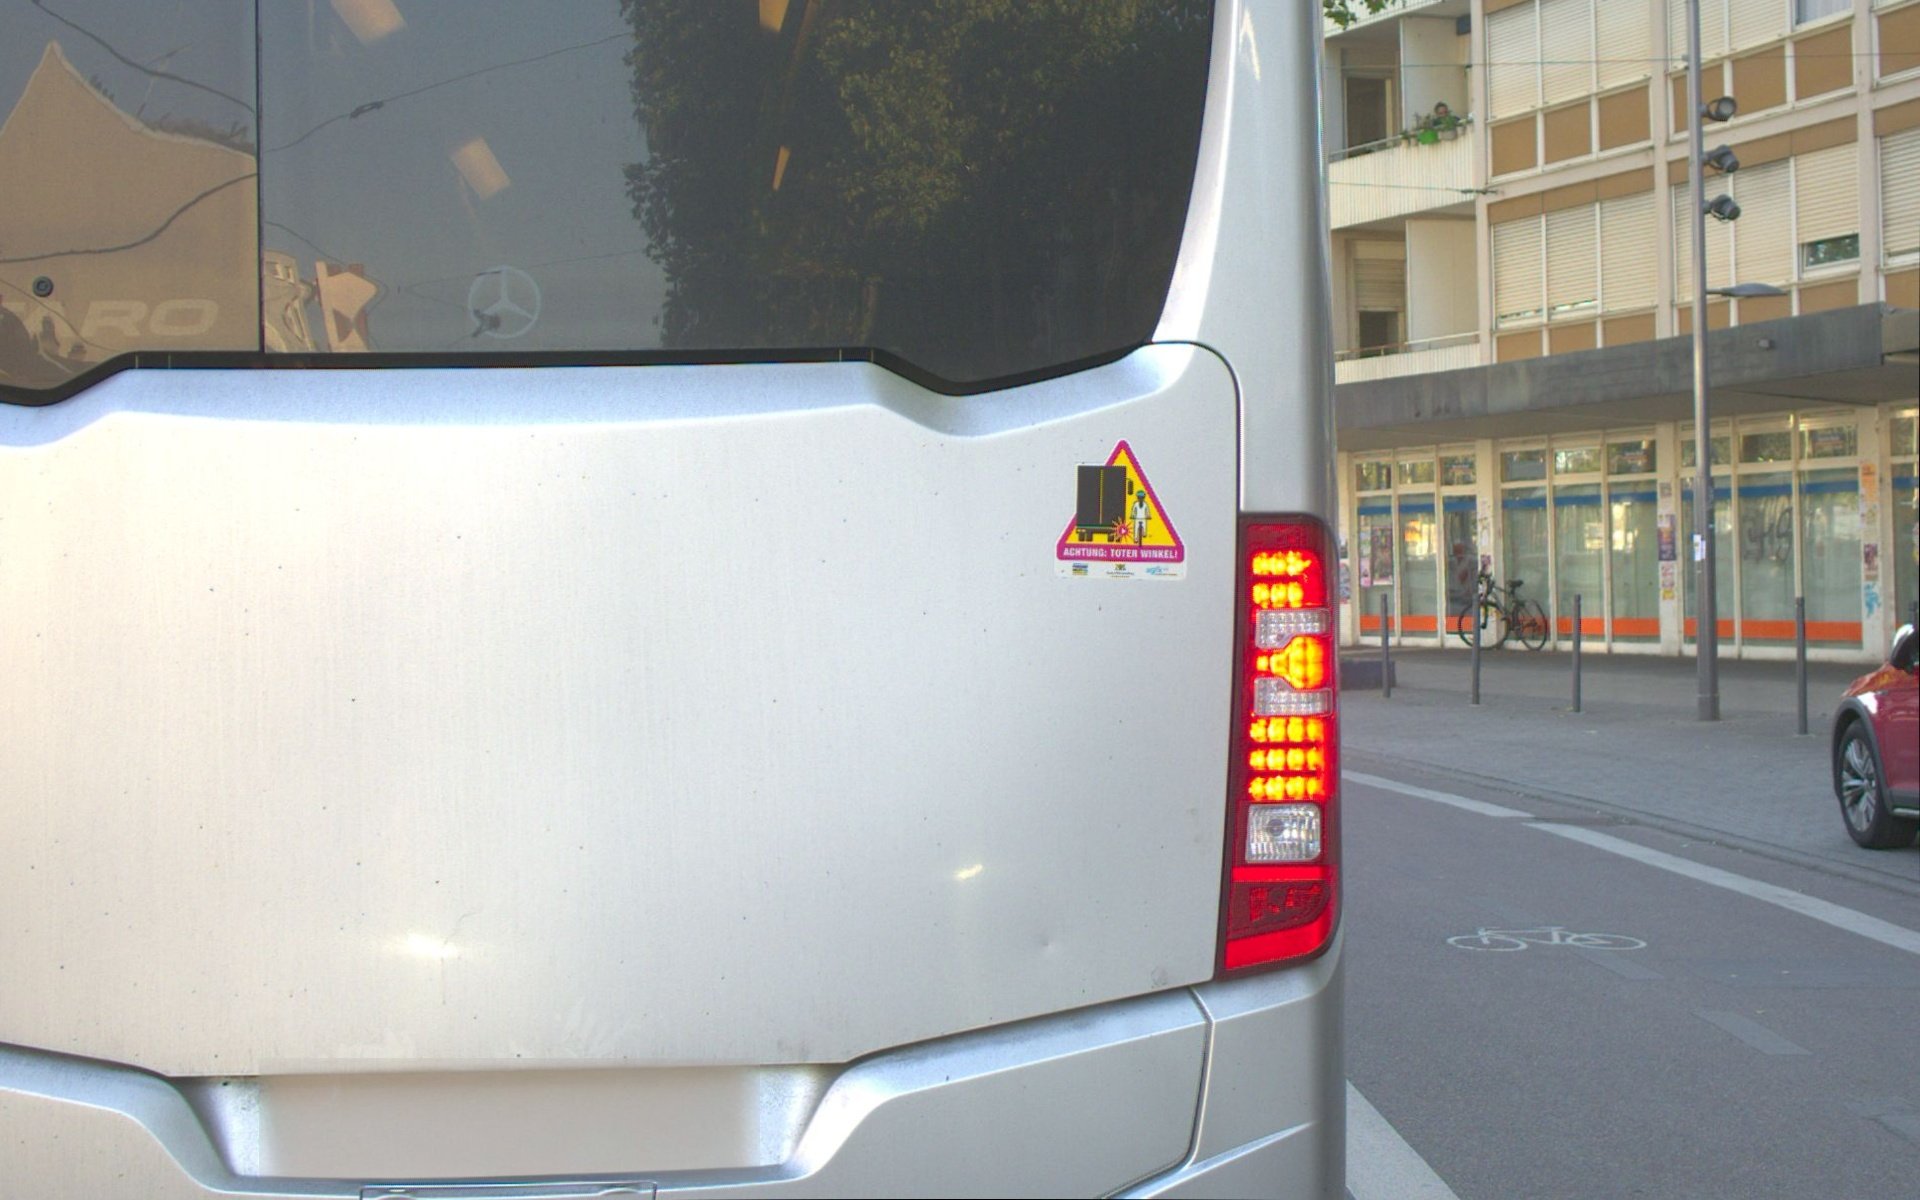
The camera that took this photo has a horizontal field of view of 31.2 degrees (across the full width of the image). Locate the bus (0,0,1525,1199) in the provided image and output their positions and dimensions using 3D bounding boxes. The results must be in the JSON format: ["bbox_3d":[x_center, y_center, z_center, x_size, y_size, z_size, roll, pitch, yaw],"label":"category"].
[{"bbox_3d":[-0.722,-0.144,9.817,2.630,3.017,9.998,0,1,-2],"label":"bus"}]

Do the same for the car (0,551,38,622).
[{"bbox_3d":[-25.496,-0.350,88.194,1.994,1.785,3.998,1,0,-41],"label":"car"}]

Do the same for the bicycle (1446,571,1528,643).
[{"bbox_3d":[7.038,0.093,45.957,0.412,0.941,1.441,-1,1,-20],"label":"bicycle"}]

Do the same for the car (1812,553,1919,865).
[{"bbox_3d":[5.515,0.507,15.869,1.769,1.477,4.304,-2,1,-4],"label":"car"}]
